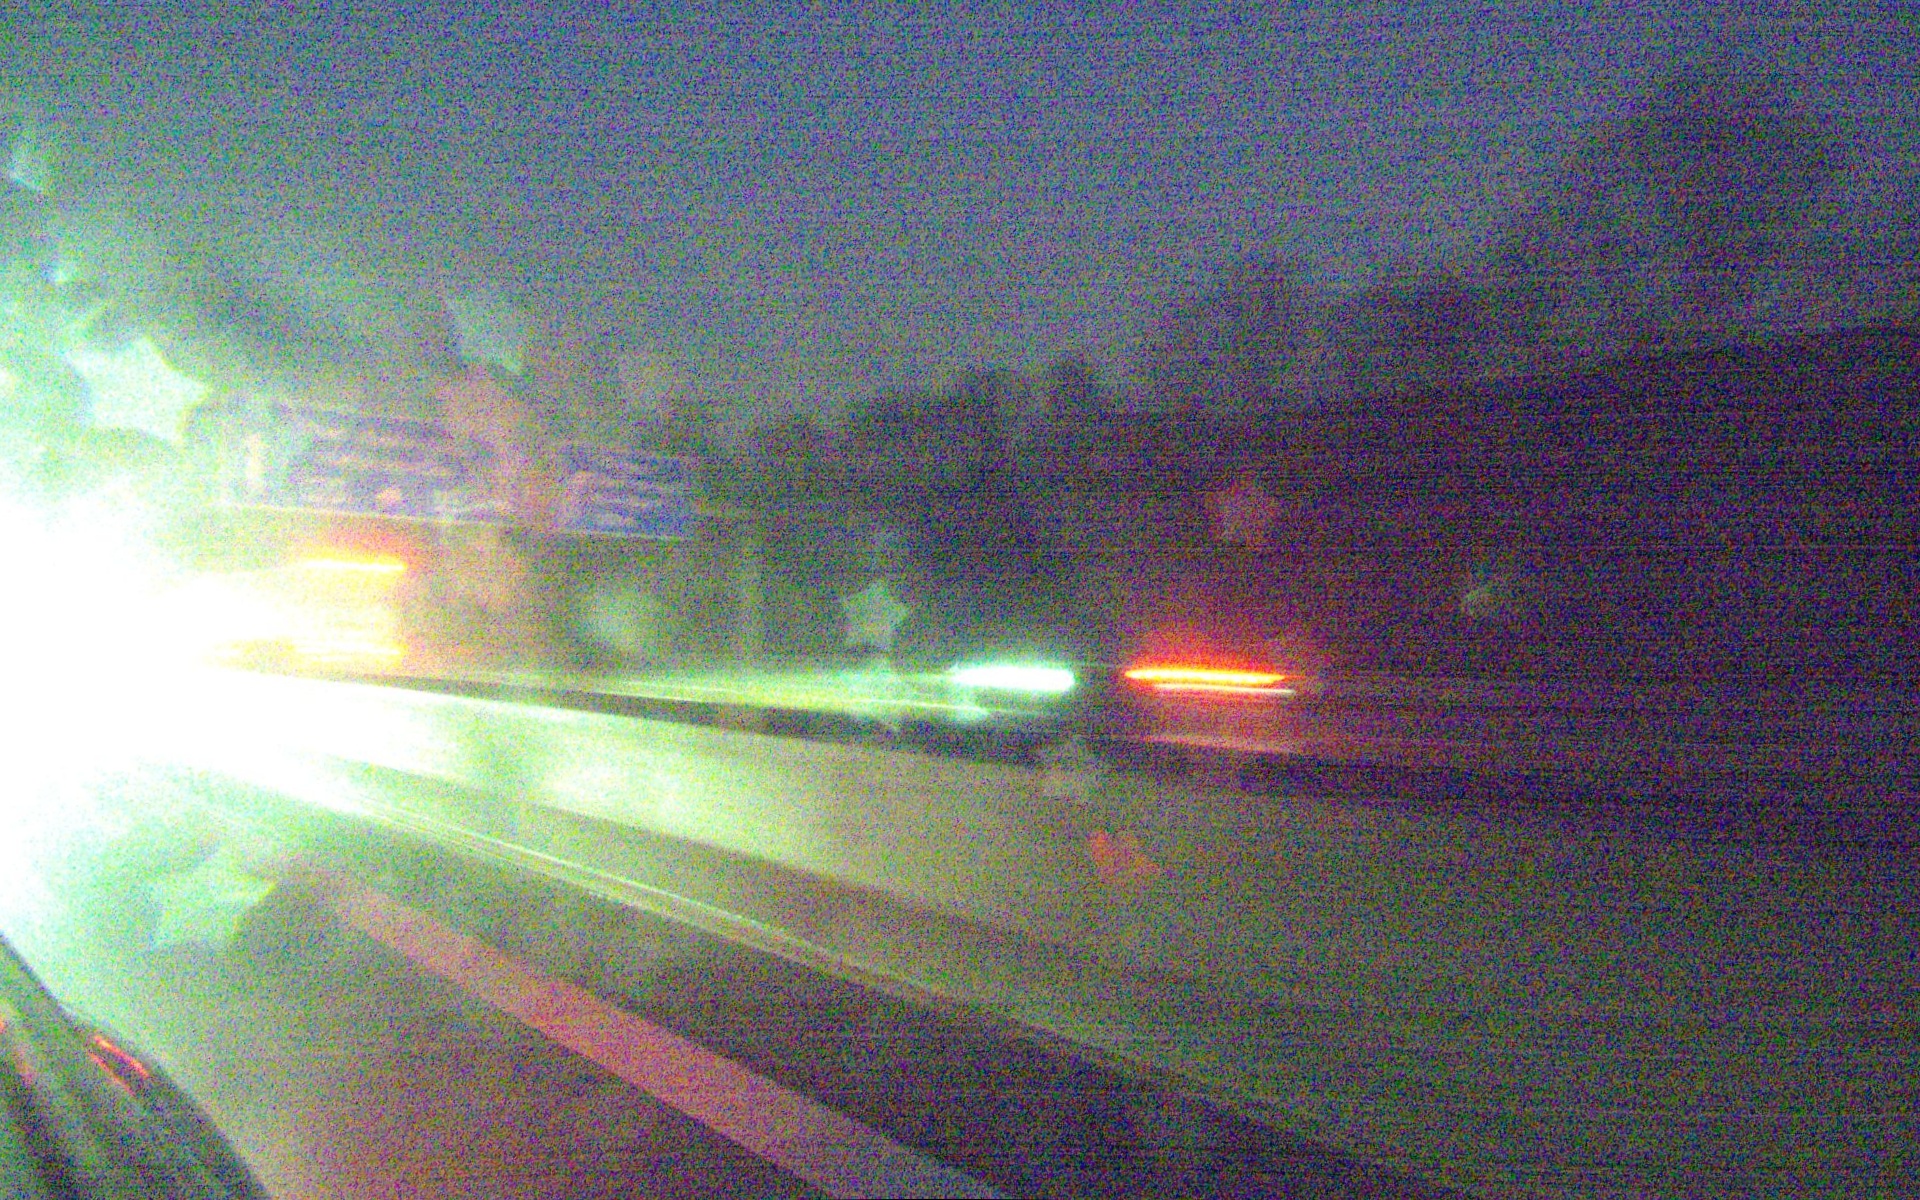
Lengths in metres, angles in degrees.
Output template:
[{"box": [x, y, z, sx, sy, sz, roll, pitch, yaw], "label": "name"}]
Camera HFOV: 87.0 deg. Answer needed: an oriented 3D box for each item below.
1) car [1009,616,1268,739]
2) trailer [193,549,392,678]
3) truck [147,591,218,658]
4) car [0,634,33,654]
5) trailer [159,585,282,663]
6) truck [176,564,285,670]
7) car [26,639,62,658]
[{"box": [3.249, 1.327, 18.921, 4.389, 2.029, 1.973, -1, -2, 41], "label": "car"}, {"box": [-26.923, 0.582, 40.233, 14.621, 4.411, 2.663, -1, -1, 41], "label": "trailer"}, {"box": [-51.610, 1.596, 67.133, 5.732, 4.253, 2.662, -1, -1, 41], "label": "truck"}, {"box": [-89.821, 4.185, 96.025, 4.954, 1.787, 1.974, -1, -2, 39], "label": "car"}, {"box": [-45.168, 1.438, 61.464, 15.636, 4.253, 2.662, -1, -1, 41], "label": "trailer"}, {"box": [-32.462, 0.739, 44.979, 5.731, 4.414, 2.663, -1, -1, 41], "label": "truck"}, {"box": [-94.684, 5.006, 104.629, 4.954, 1.787, 1.974, -1, -2, 39], "label": "car"}]
